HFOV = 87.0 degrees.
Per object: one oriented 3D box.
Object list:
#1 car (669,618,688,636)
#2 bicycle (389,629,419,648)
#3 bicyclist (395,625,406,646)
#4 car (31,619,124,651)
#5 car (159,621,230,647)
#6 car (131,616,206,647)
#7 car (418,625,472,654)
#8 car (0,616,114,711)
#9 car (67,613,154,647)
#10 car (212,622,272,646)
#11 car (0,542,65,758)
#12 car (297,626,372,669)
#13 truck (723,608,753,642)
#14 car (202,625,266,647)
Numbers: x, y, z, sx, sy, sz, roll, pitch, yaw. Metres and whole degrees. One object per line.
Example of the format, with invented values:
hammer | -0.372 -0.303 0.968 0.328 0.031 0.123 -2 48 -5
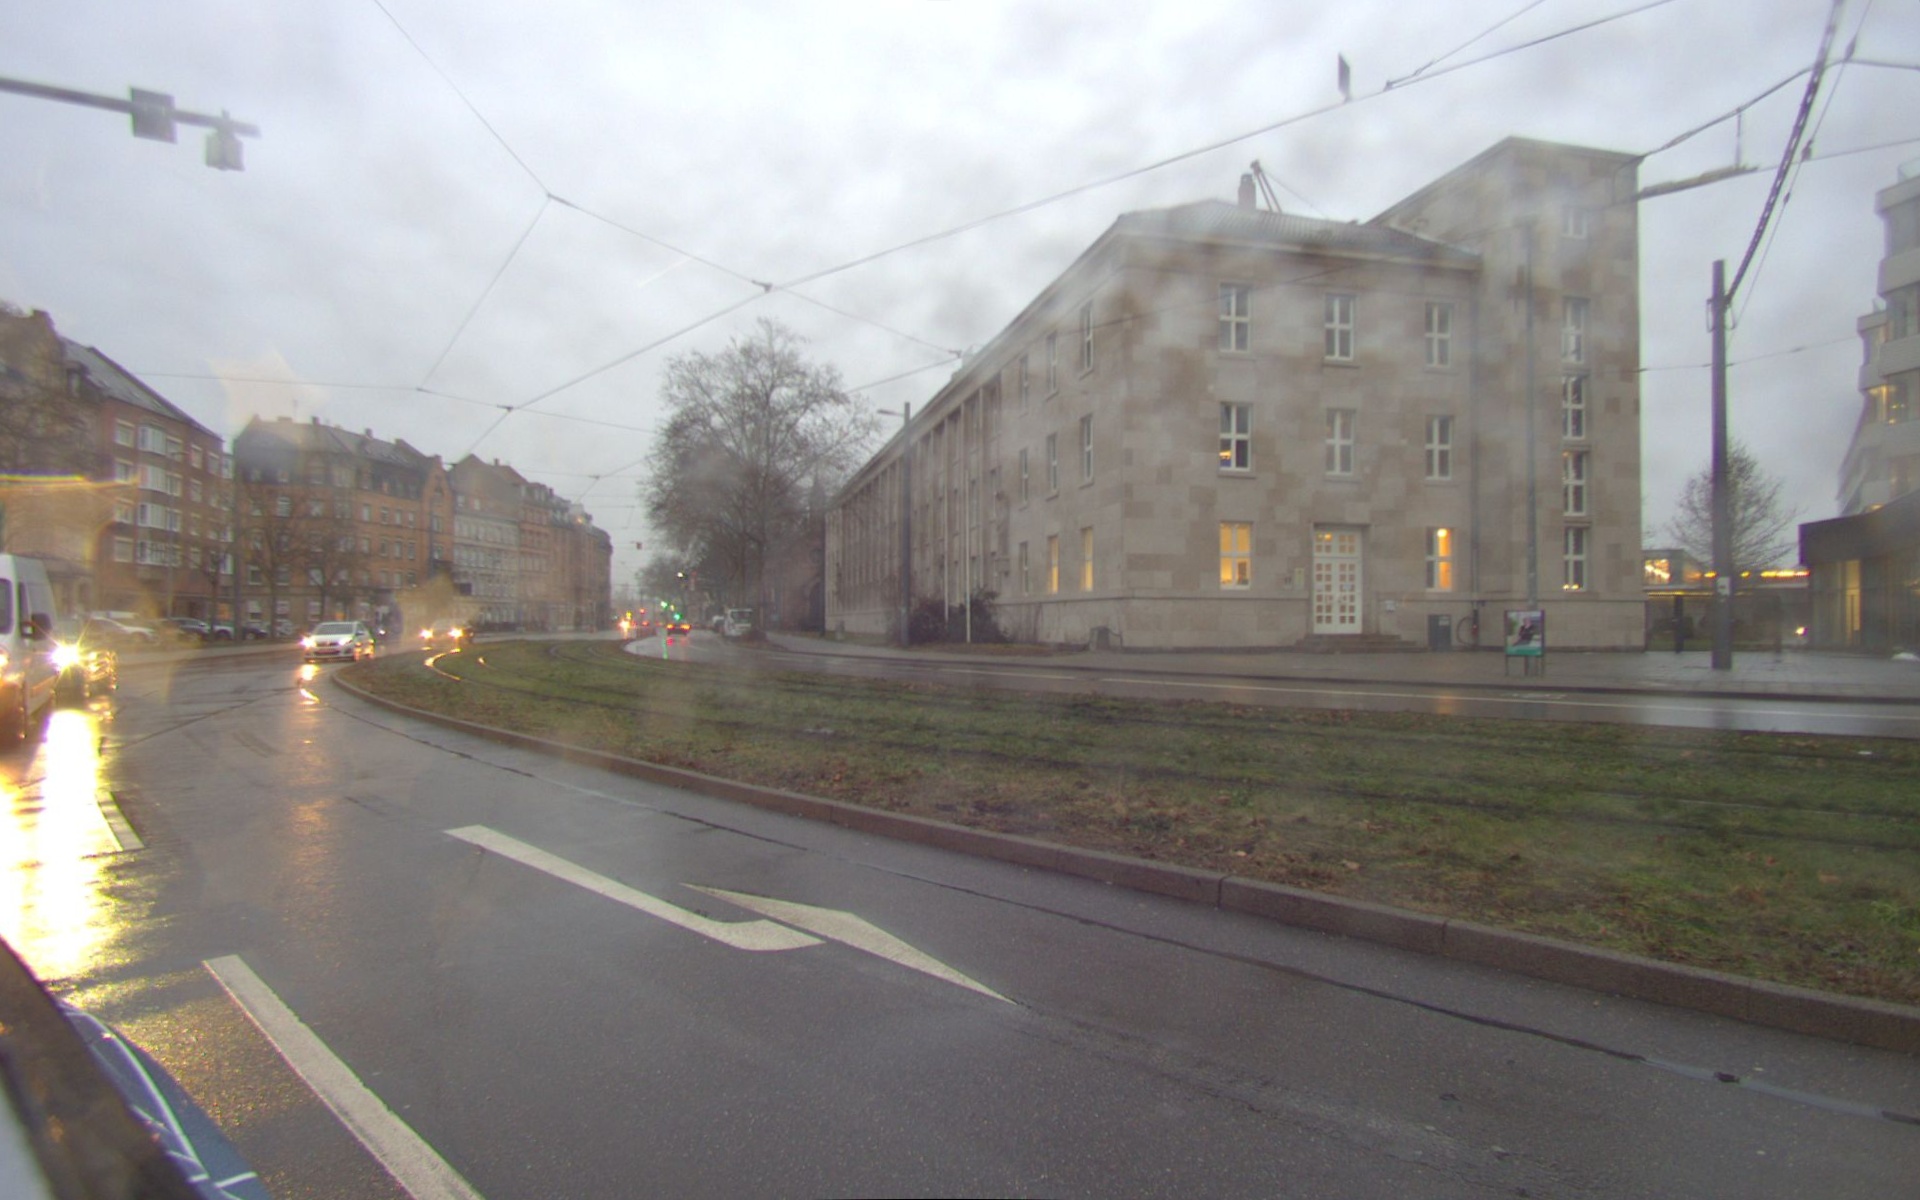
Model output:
car | -26.416 2.572 94.835 1.662 1.652 3.657 0 -2 -16
bicycle | -53.718 3.703 97.735 2.410 1.719 0.848 -1 0 -19
bicyclist | -53.976 3.412 97.683 0.766 2.029 0.833 -1 0 -18
car | -40.762 1.604 46.825 3.135 1.440 1.431 1 -2 -37
car | -43.719 1.915 57.857 3.134 1.424 1.385 1 -2 -35
car | -42.955 1.685 54.987 3.135 1.636 1.449 1 -2 -37
car | -27.995 2.119 55.095 1.810 1.545 3.826 0 -2 -14
car | -18.385 1.193 20.283 1.846 1.701 4.181 0 -1 -35
car | -41.531 1.460 49.545 3.135 1.636 1.431 1 -2 -37
car | -46.640 2.197 65.792 3.134 1.494 1.385 1 -2 -35
car | -13.460 0.624 13.291 2.207 2.481 5.681 0 -1 -38
car | -22.887 1.693 37.130 1.661 1.441 3.357 0 -1 -19
truck | -14.226 1.596 64.811 1.808 2.060 4.010 0 -2 -13
car | -44.323 2.169 61.820 3.134 1.293 1.385 1 -2 -35
